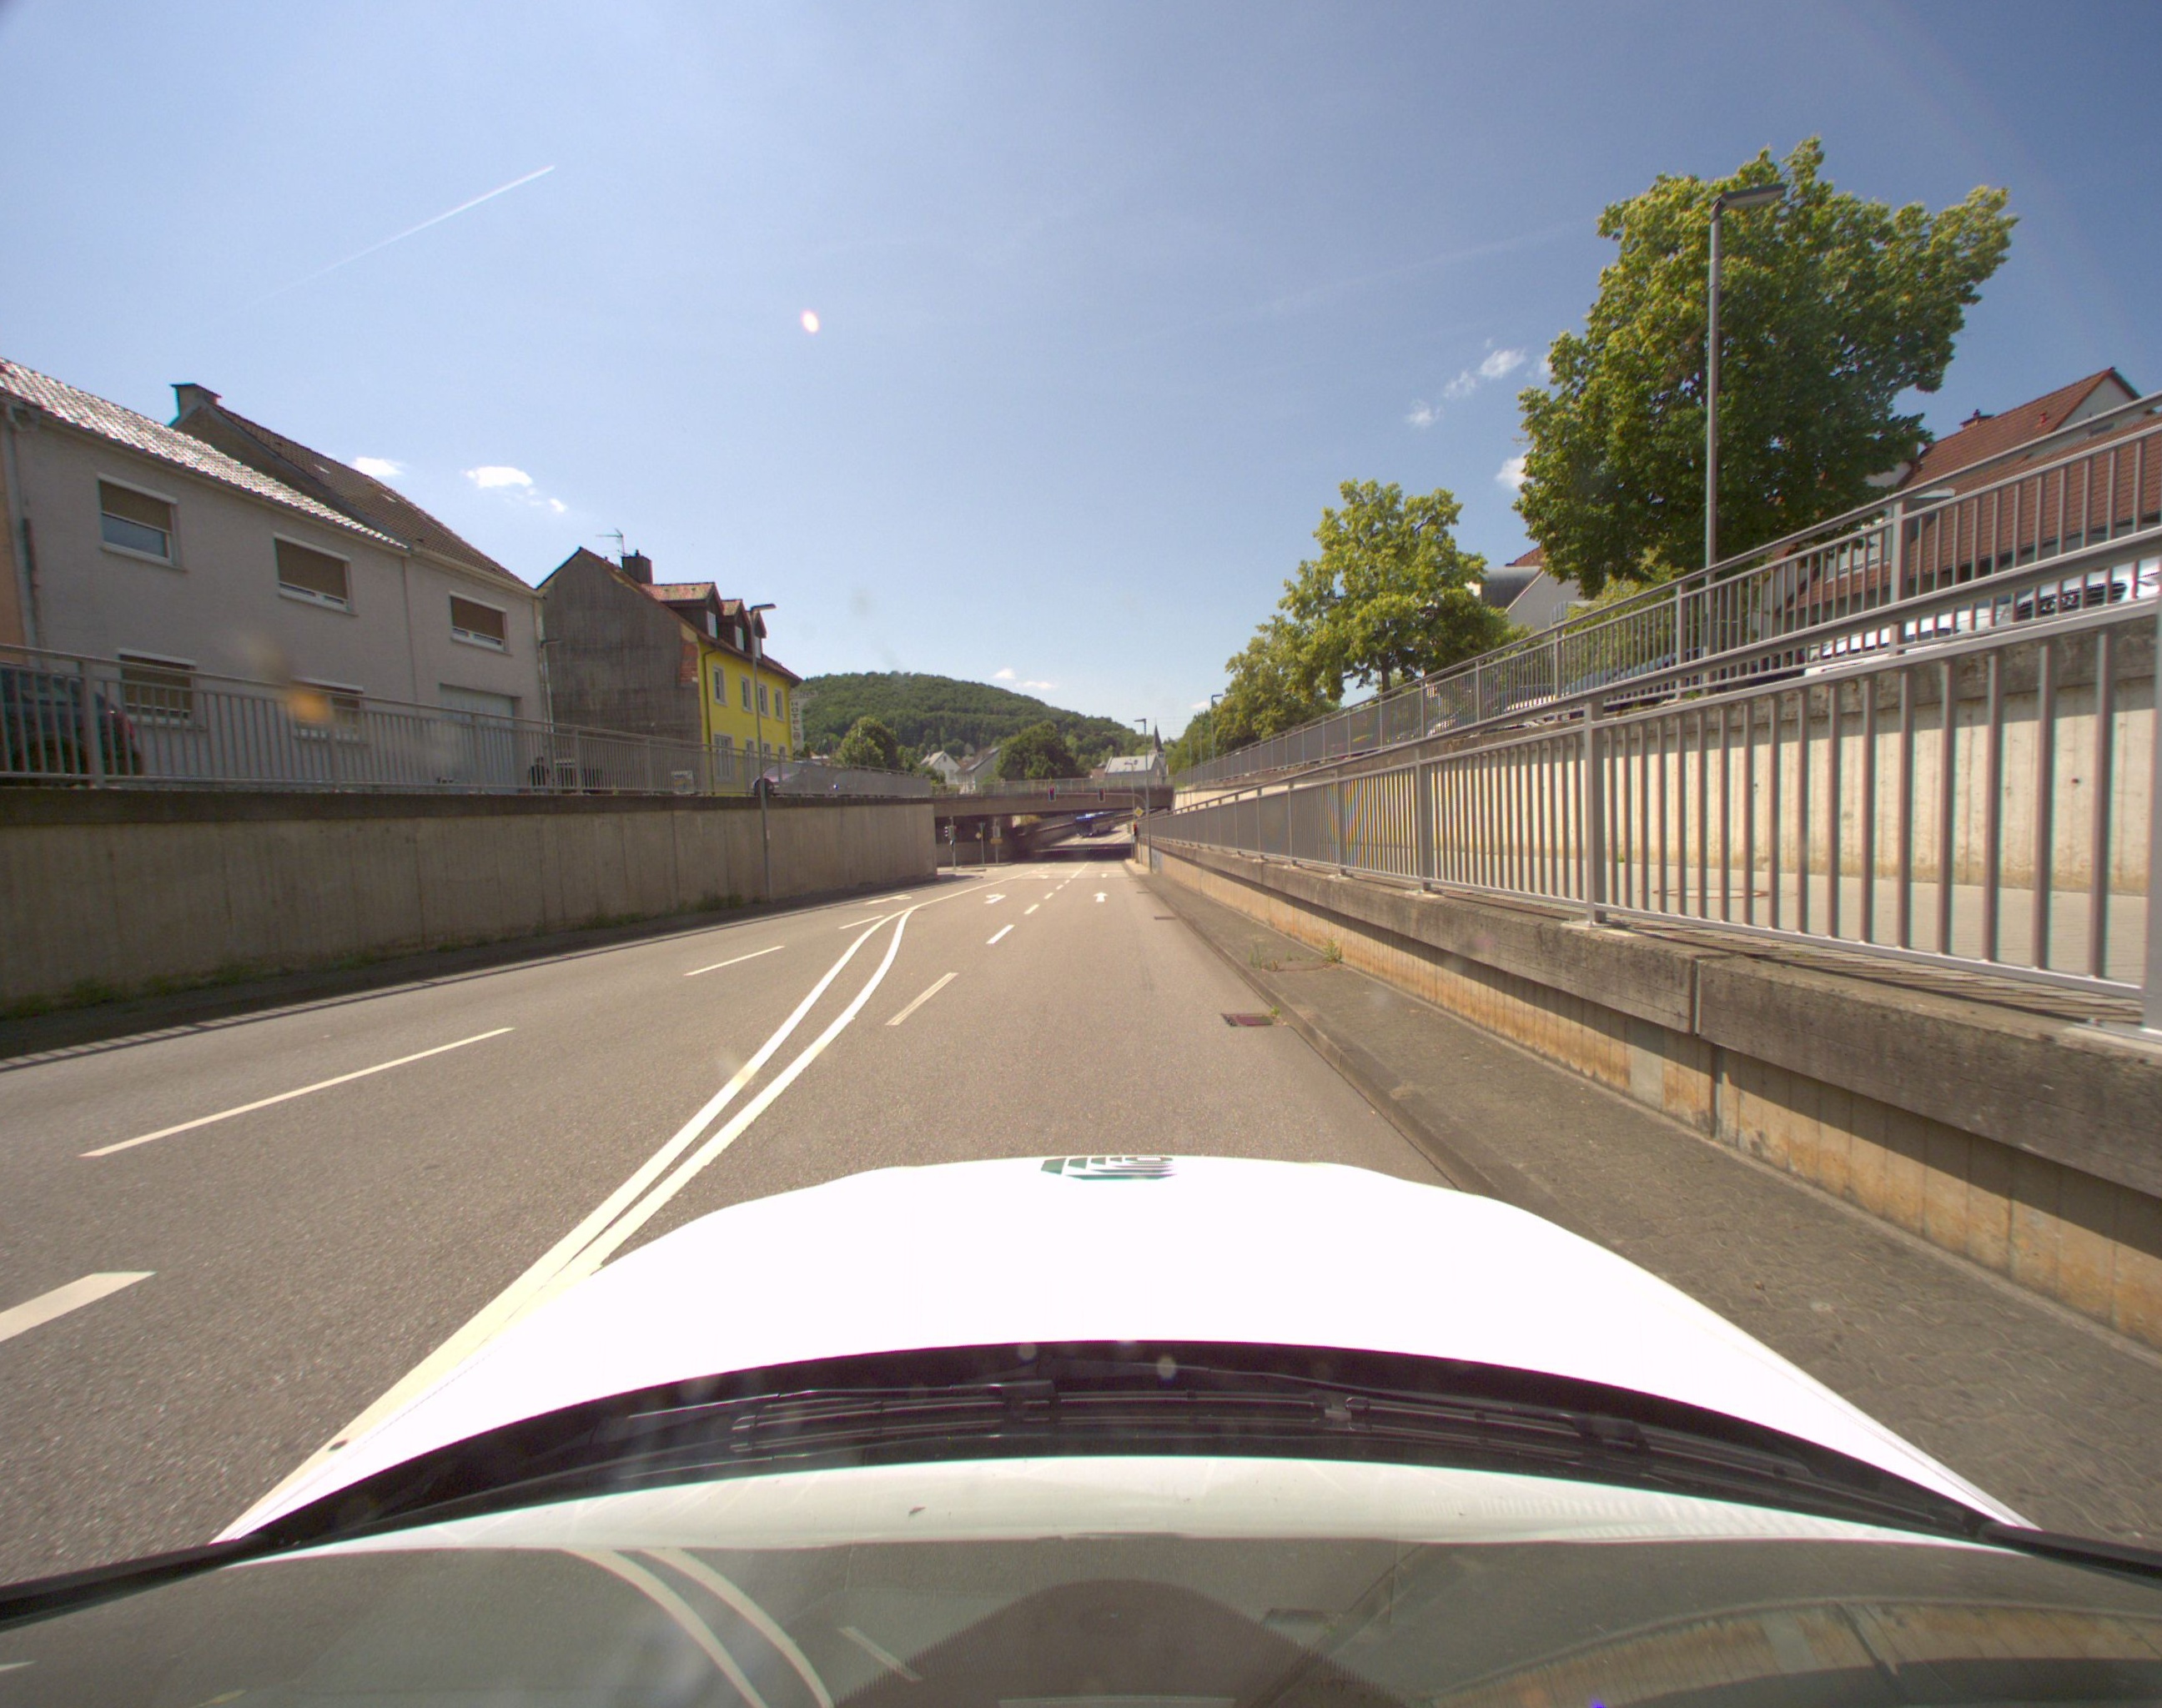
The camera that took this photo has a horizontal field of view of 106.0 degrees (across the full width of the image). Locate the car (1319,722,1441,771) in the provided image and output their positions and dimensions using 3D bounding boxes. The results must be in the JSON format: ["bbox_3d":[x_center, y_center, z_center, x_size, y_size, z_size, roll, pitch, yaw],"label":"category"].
[{"bbox_3d":[11.183,-4.018,30.639,3.968,1.486,1.772,-1,0,4],"label":"car"}]

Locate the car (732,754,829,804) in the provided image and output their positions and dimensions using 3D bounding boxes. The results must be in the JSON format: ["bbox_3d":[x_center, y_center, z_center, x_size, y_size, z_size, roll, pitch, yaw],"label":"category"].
[{"bbox_3d":[-10.674,-2.621,29.251,1.793,1.524,4.393,-2,3,0],"label":"car"}]

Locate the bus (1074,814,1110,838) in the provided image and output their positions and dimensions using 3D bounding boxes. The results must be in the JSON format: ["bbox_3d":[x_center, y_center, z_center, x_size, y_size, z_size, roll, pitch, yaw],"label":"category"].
[{"bbox_3d":[1.758,-4.320,123.249,2.562,3.172,12.426,-1,3,14],"label":"bus"}]

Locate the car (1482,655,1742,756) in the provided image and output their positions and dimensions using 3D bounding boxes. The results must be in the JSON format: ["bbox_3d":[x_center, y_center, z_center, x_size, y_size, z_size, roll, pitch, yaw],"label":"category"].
[{"bbox_3d":[10.341,-2.875,16.095,3.969,1.555,1.727,-1,1,4],"label":"car"}]

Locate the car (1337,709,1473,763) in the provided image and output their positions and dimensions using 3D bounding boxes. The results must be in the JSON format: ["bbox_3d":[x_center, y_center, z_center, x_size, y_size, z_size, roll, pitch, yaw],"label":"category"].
[{"bbox_3d":[11.002,-3.990,27.870,3.968,1.486,1.772,-1,0,4],"label":"car"}]

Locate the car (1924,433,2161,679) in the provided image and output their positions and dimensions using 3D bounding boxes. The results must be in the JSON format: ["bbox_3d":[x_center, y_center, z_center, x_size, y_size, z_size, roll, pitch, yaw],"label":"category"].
[{"bbox_3d":[9.610,-2.319,6.436,3.969,1.427,1.727,-1,3,4],"label":"car"}]

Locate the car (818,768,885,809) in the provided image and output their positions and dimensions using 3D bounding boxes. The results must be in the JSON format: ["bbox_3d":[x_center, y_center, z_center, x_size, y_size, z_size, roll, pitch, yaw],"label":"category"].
[{"bbox_3d":[-10.535,-2.964,37.681,1.817,1.705,4.223,-2,3,0],"label":"car"}]

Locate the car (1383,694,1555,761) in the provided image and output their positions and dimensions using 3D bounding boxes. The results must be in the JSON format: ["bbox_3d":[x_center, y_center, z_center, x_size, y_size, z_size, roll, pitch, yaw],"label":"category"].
[{"bbox_3d":[10.739,-3.506,22.769,3.968,1.486,1.772,-1,0,4],"label":"car"}]

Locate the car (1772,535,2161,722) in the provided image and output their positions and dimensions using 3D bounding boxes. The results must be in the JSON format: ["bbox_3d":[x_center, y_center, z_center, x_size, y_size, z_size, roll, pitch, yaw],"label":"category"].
[{"bbox_3d":[10.532,-2.452,9.152,3.969,1.555,1.727,-1,1,4],"label":"car"}]

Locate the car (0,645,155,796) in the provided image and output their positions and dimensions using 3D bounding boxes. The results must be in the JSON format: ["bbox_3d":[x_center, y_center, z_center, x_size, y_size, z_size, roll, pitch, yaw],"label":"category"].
[{"bbox_3d":[-11.516,-1.283,7.094,1.780,1.405,4.393,-2,3,0],"label":"car"}]

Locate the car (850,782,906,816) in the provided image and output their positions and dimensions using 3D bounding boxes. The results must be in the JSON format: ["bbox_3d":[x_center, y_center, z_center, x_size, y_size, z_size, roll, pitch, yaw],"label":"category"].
[{"bbox_3d":[-10.650,-2.848,42.978,1.896,1.667,4.001,-2,3,0],"label":"car"}]

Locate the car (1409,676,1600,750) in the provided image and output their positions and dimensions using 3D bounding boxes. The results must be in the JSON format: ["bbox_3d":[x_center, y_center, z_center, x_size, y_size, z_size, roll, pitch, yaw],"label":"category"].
[{"bbox_3d":[10.720,-3.563,20.843,3.968,1.486,1.772,-1,0,4],"label":"car"}]

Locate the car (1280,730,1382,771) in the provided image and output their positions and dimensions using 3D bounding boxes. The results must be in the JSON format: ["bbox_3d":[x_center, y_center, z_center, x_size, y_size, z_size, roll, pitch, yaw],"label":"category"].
[{"bbox_3d":[10.856,-4.499,35.536,3.968,1.486,1.772,-1,0,4],"label":"car"}]

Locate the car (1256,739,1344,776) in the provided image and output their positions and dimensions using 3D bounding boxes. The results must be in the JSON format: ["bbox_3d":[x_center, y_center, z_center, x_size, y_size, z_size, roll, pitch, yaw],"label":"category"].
[{"bbox_3d":[10.819,-4.761,40.402,3.968,1.567,1.772,-1,0,4],"label":"car"}]

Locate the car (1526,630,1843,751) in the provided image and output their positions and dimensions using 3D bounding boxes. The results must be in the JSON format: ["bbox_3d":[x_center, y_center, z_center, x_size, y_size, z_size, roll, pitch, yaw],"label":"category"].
[{"bbox_3d":[9.919,-2.673,13.648,3.969,1.555,1.727,-1,1,4],"label":"car"}]

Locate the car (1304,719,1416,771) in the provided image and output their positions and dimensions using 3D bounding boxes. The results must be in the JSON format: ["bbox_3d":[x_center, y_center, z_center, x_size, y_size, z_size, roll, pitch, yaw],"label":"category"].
[{"bbox_3d":[11.183,-4.376,32.871,3.968,1.770,1.772,-1,0,4],"label":"car"}]

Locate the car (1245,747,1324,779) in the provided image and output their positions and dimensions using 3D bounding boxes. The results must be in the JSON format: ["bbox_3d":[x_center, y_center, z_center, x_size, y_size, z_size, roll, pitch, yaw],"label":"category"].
[{"bbox_3d":[11.134,-4.962,44.712,3.968,1.486,1.772,-1,0,4],"label":"car"}]
